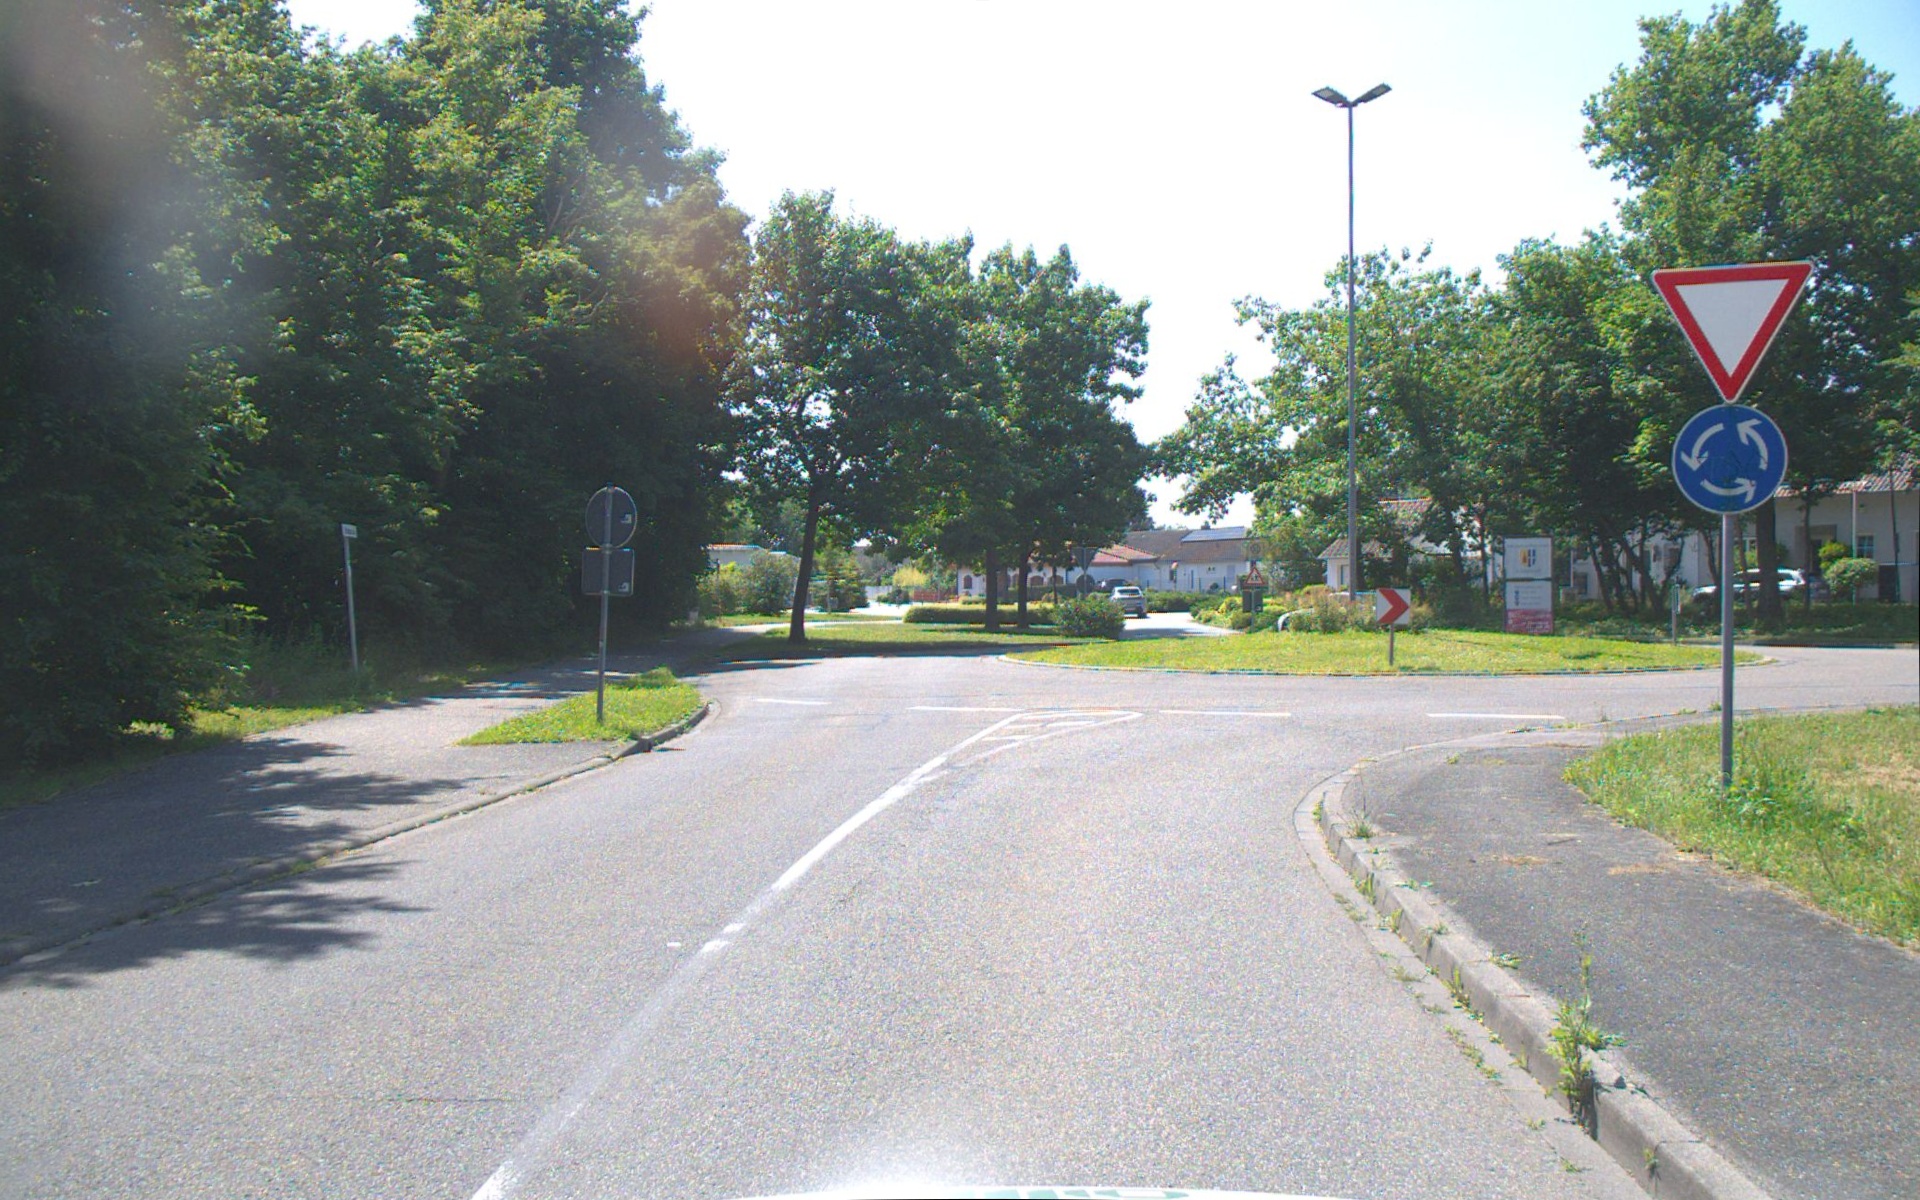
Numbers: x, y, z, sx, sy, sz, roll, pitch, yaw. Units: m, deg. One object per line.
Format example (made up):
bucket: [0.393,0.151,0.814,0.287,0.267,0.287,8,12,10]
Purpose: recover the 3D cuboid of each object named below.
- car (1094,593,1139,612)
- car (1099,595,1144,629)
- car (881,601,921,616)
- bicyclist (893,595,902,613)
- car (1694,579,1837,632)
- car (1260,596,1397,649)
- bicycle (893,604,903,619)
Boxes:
car: [13.246,0.221,140.163,1.824,1.569,3.808,-1,0,45]
car: [7.544,0.539,77.396,1.595,1.512,3.999,-1,0,-1]
car: [-5.234,0.773,146.456,1.973,1.311,3.958,0,0,-31]
bicyclist: [-4.093,0.239,109.043,0.585,1.185,0.648,-1,0,-2]
car: [27.132,0.185,55.822,1.646,1.735,4.093,0,0,-34]
car: [9.616,0.577,43.403,1.597,1.311,3.522,0,0,-29]
bicycle: [-4.090,0.740,109.075,0.585,0.945,1.619,-1,0,-2]
